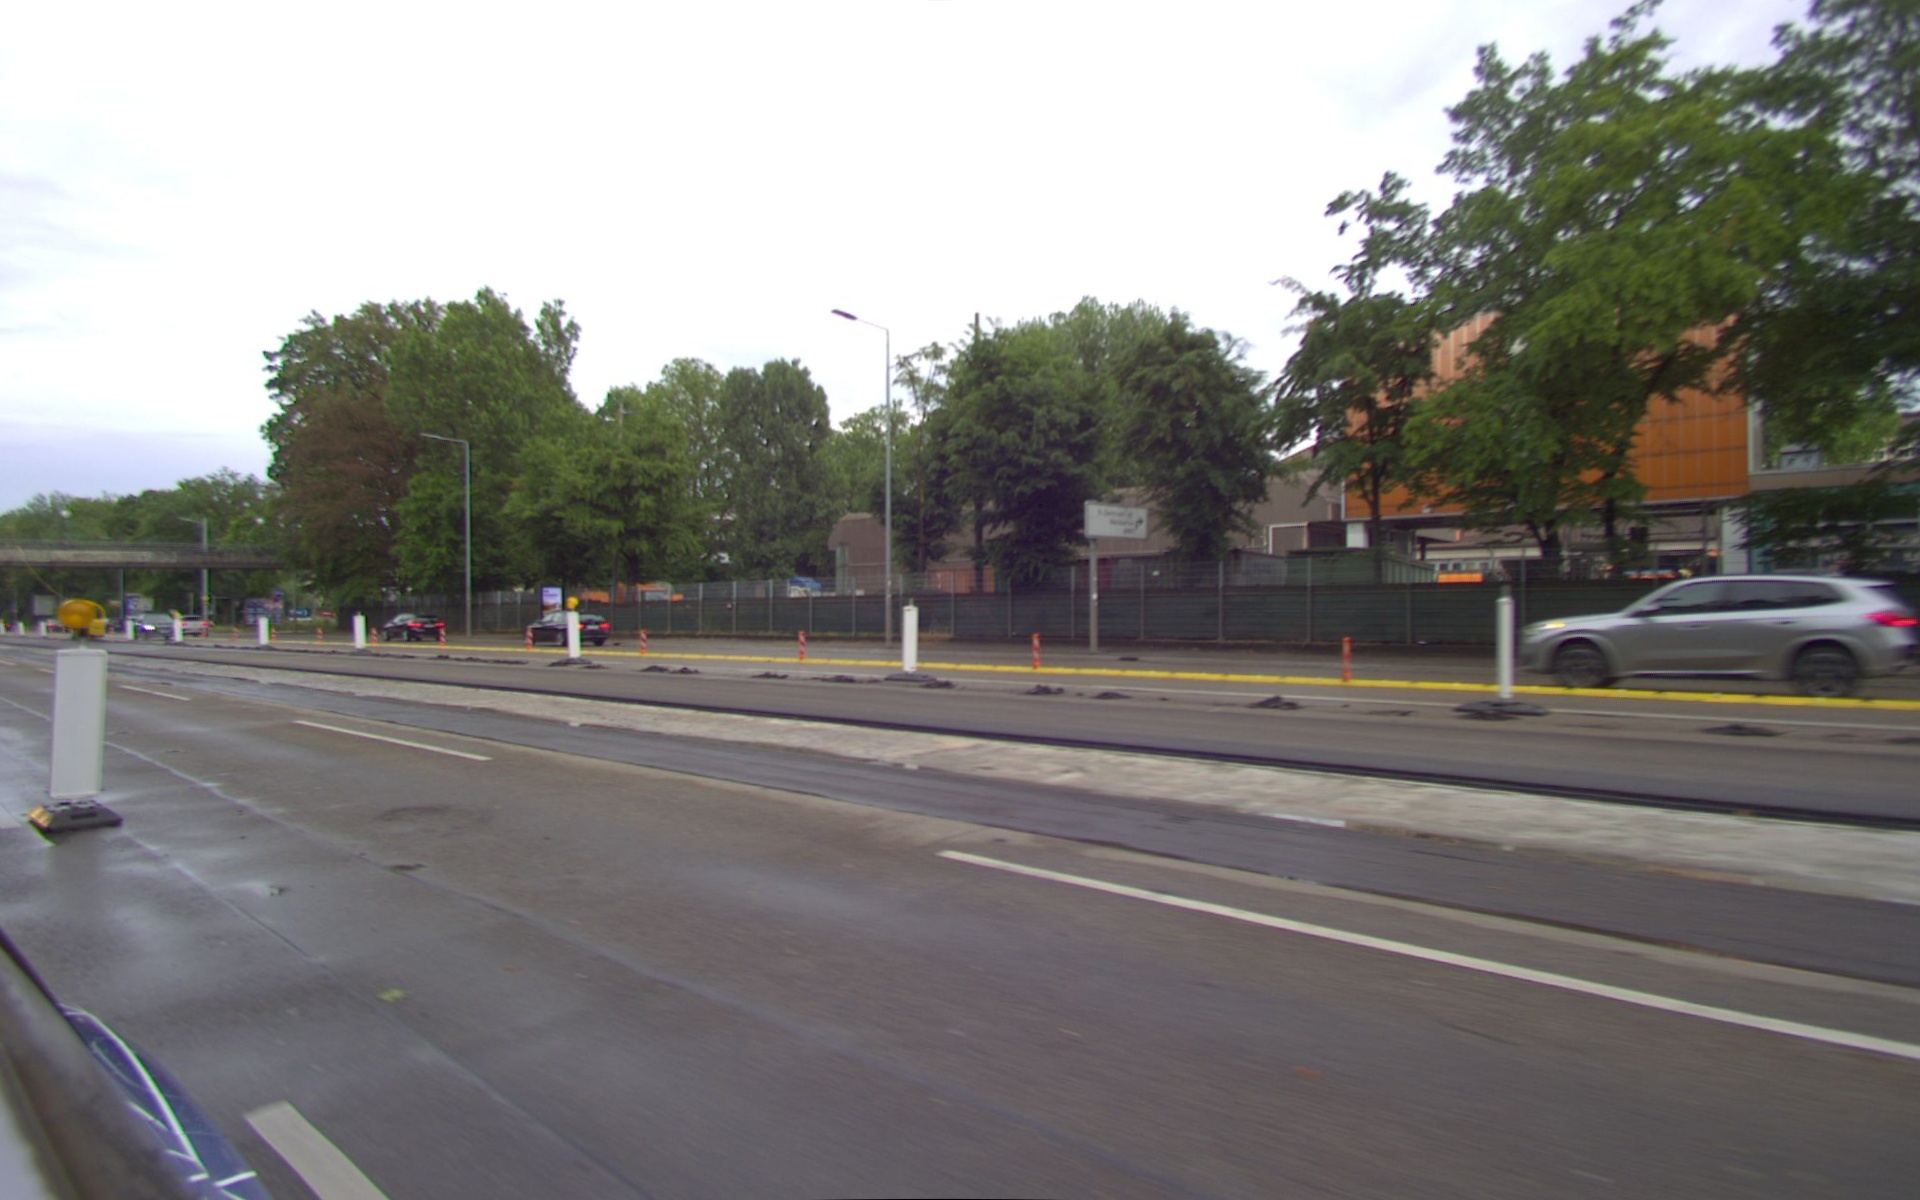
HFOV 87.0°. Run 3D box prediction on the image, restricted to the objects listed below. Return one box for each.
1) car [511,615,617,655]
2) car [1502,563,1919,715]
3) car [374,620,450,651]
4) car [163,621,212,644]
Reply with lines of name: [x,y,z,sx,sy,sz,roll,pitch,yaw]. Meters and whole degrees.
car: [-16.083,1.376,40.985,4.763,1.465,2.025,-1,0,41]
car: [10.365,0.464,14.027,4.674,1.781,1.967,-1,0,43]
car: [-27.862,1.802,51.399,4.262,1.440,1.973,-2,-1,40]
car: [-54.803,2.271,71.783,4.264,1.524,1.973,-2,-1,41]
